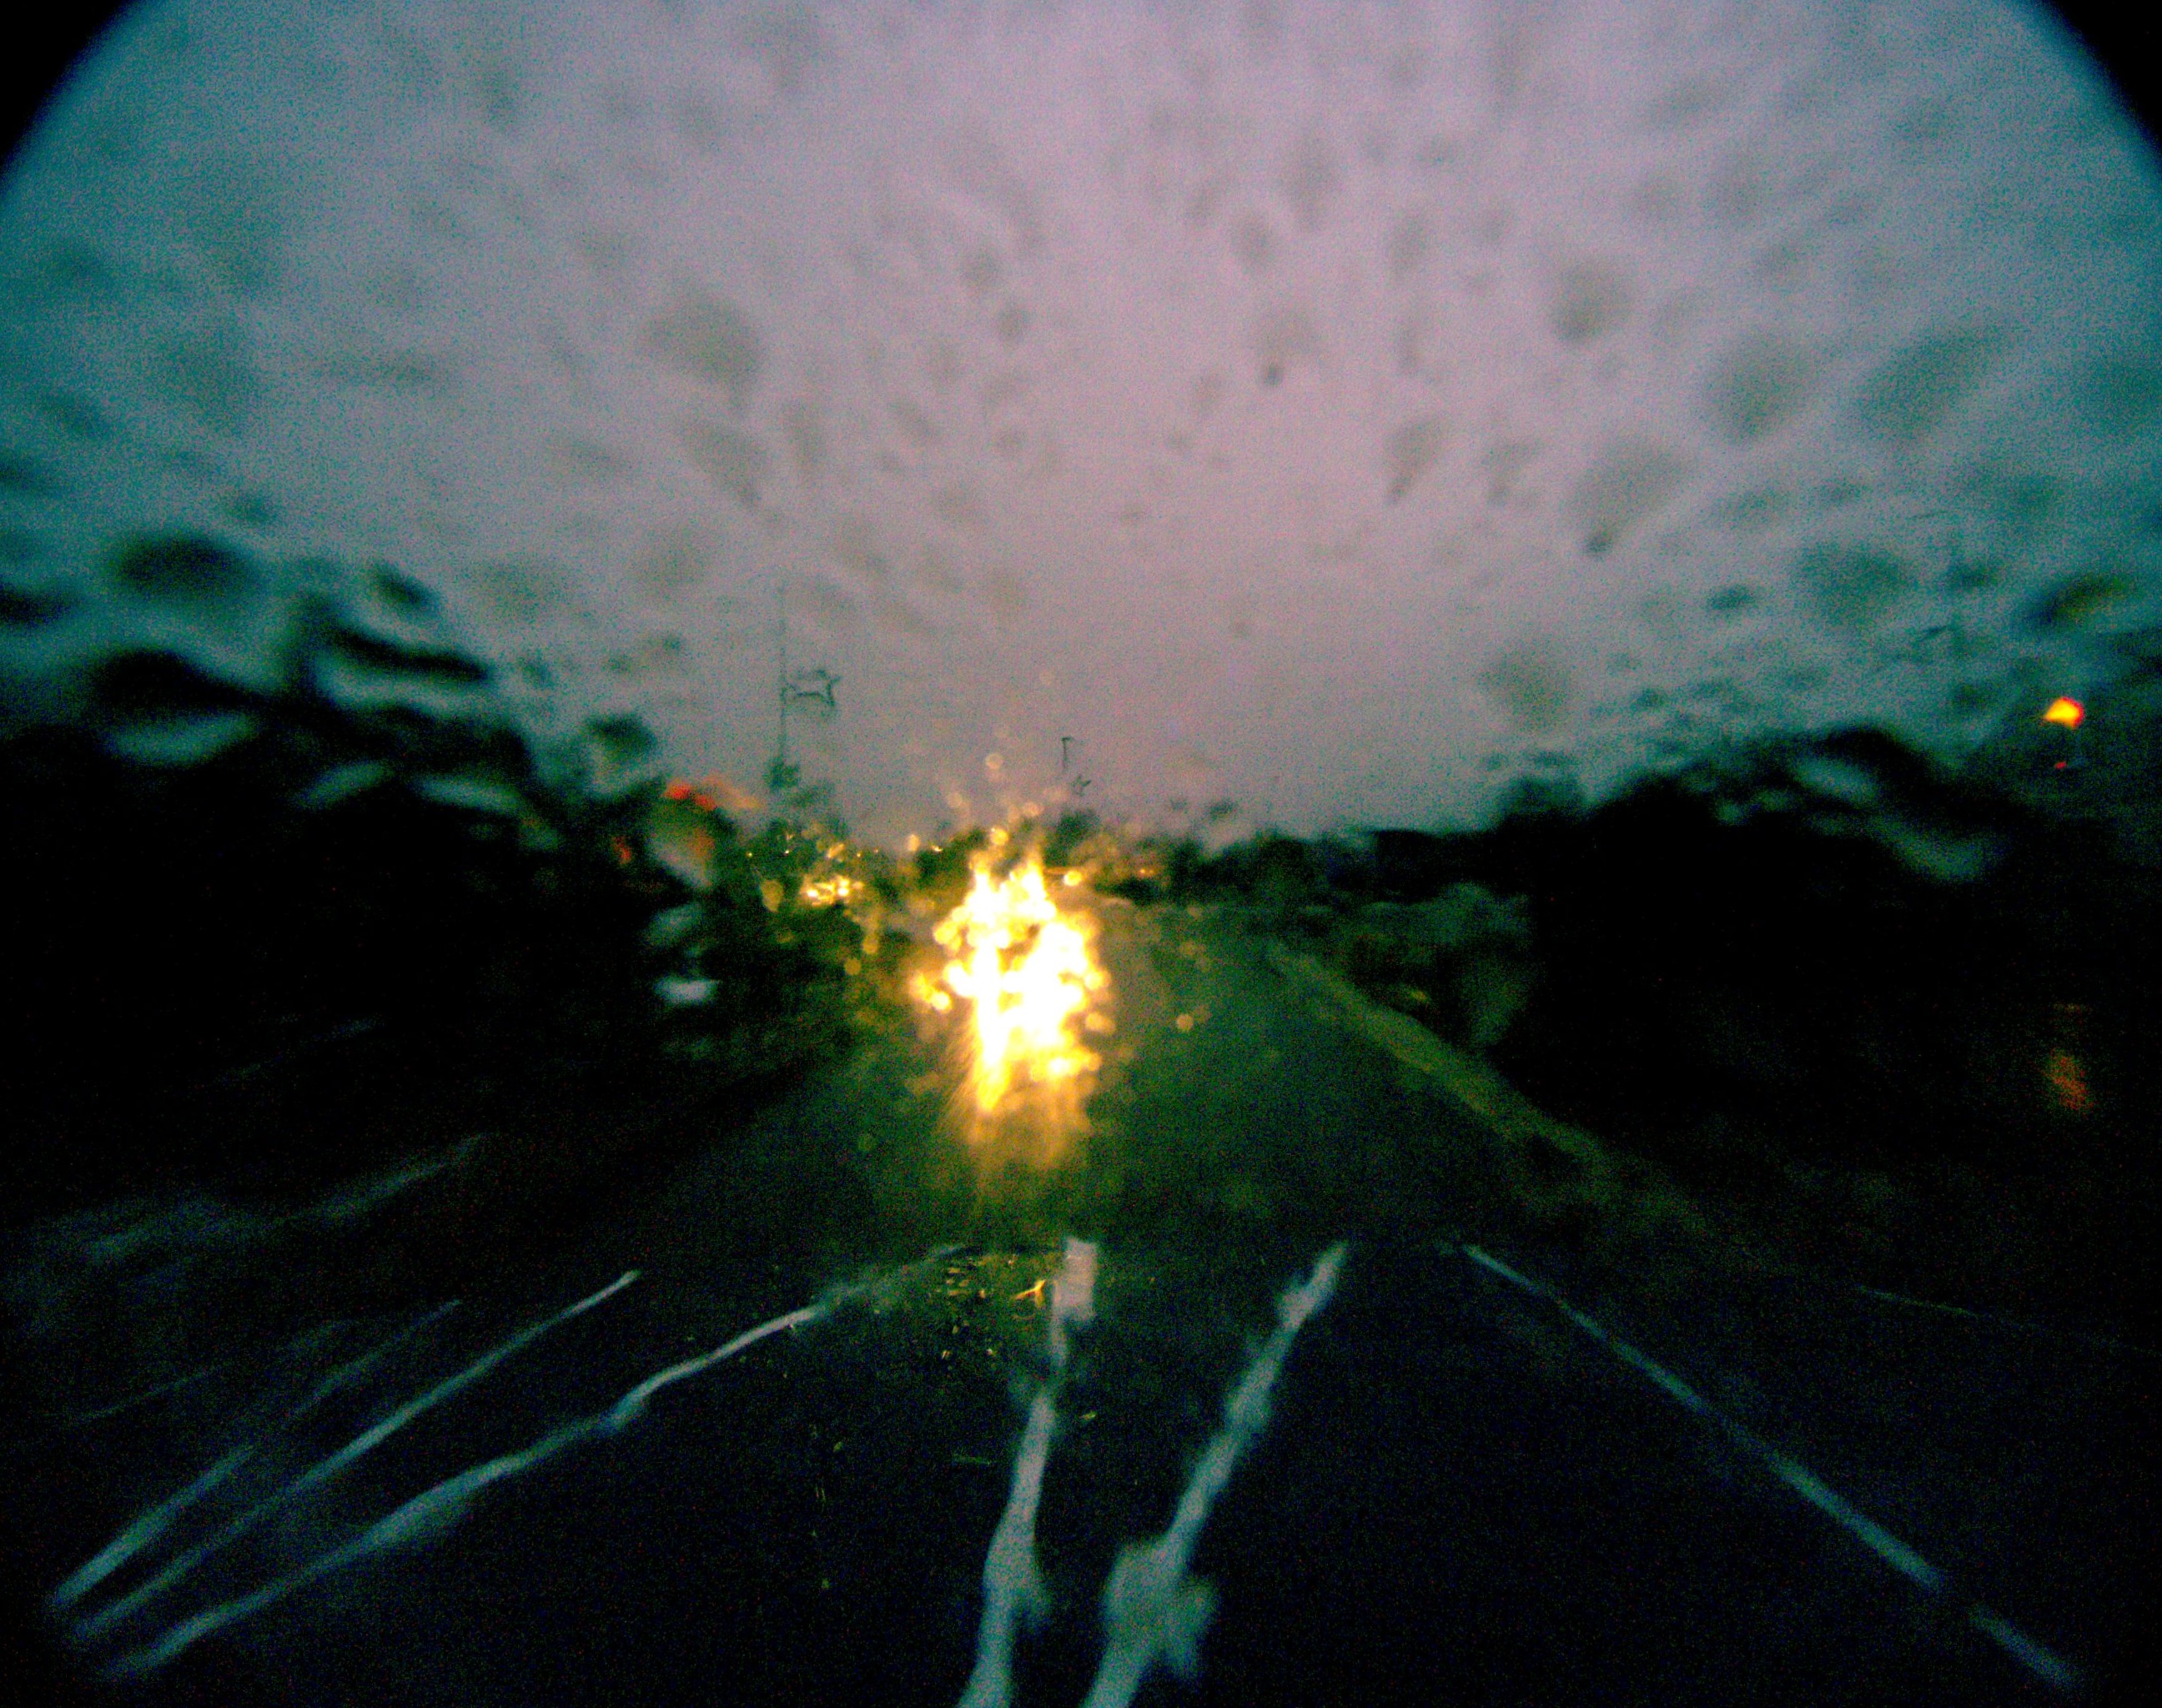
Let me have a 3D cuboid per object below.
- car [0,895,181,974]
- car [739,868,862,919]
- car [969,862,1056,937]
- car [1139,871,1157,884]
[{"bbox_3d":[-29.011,2.236,22.177,1.942,1.907,5.236,-3,0,-32],"label":"car"},{"bbox_3d":[-9.365,1.329,25.324,3.702,1.483,1.665,-3,0,25],"label":"car"},{"bbox_3d":[-1.759,0.990,18.457,1.811,1.452,4.242,-3,1,-8],"label":"car"},{"bbox_3d":[12.620,4.388,143.213,2.281,2.425,5.236,0,0,-8],"label":"car"}]
